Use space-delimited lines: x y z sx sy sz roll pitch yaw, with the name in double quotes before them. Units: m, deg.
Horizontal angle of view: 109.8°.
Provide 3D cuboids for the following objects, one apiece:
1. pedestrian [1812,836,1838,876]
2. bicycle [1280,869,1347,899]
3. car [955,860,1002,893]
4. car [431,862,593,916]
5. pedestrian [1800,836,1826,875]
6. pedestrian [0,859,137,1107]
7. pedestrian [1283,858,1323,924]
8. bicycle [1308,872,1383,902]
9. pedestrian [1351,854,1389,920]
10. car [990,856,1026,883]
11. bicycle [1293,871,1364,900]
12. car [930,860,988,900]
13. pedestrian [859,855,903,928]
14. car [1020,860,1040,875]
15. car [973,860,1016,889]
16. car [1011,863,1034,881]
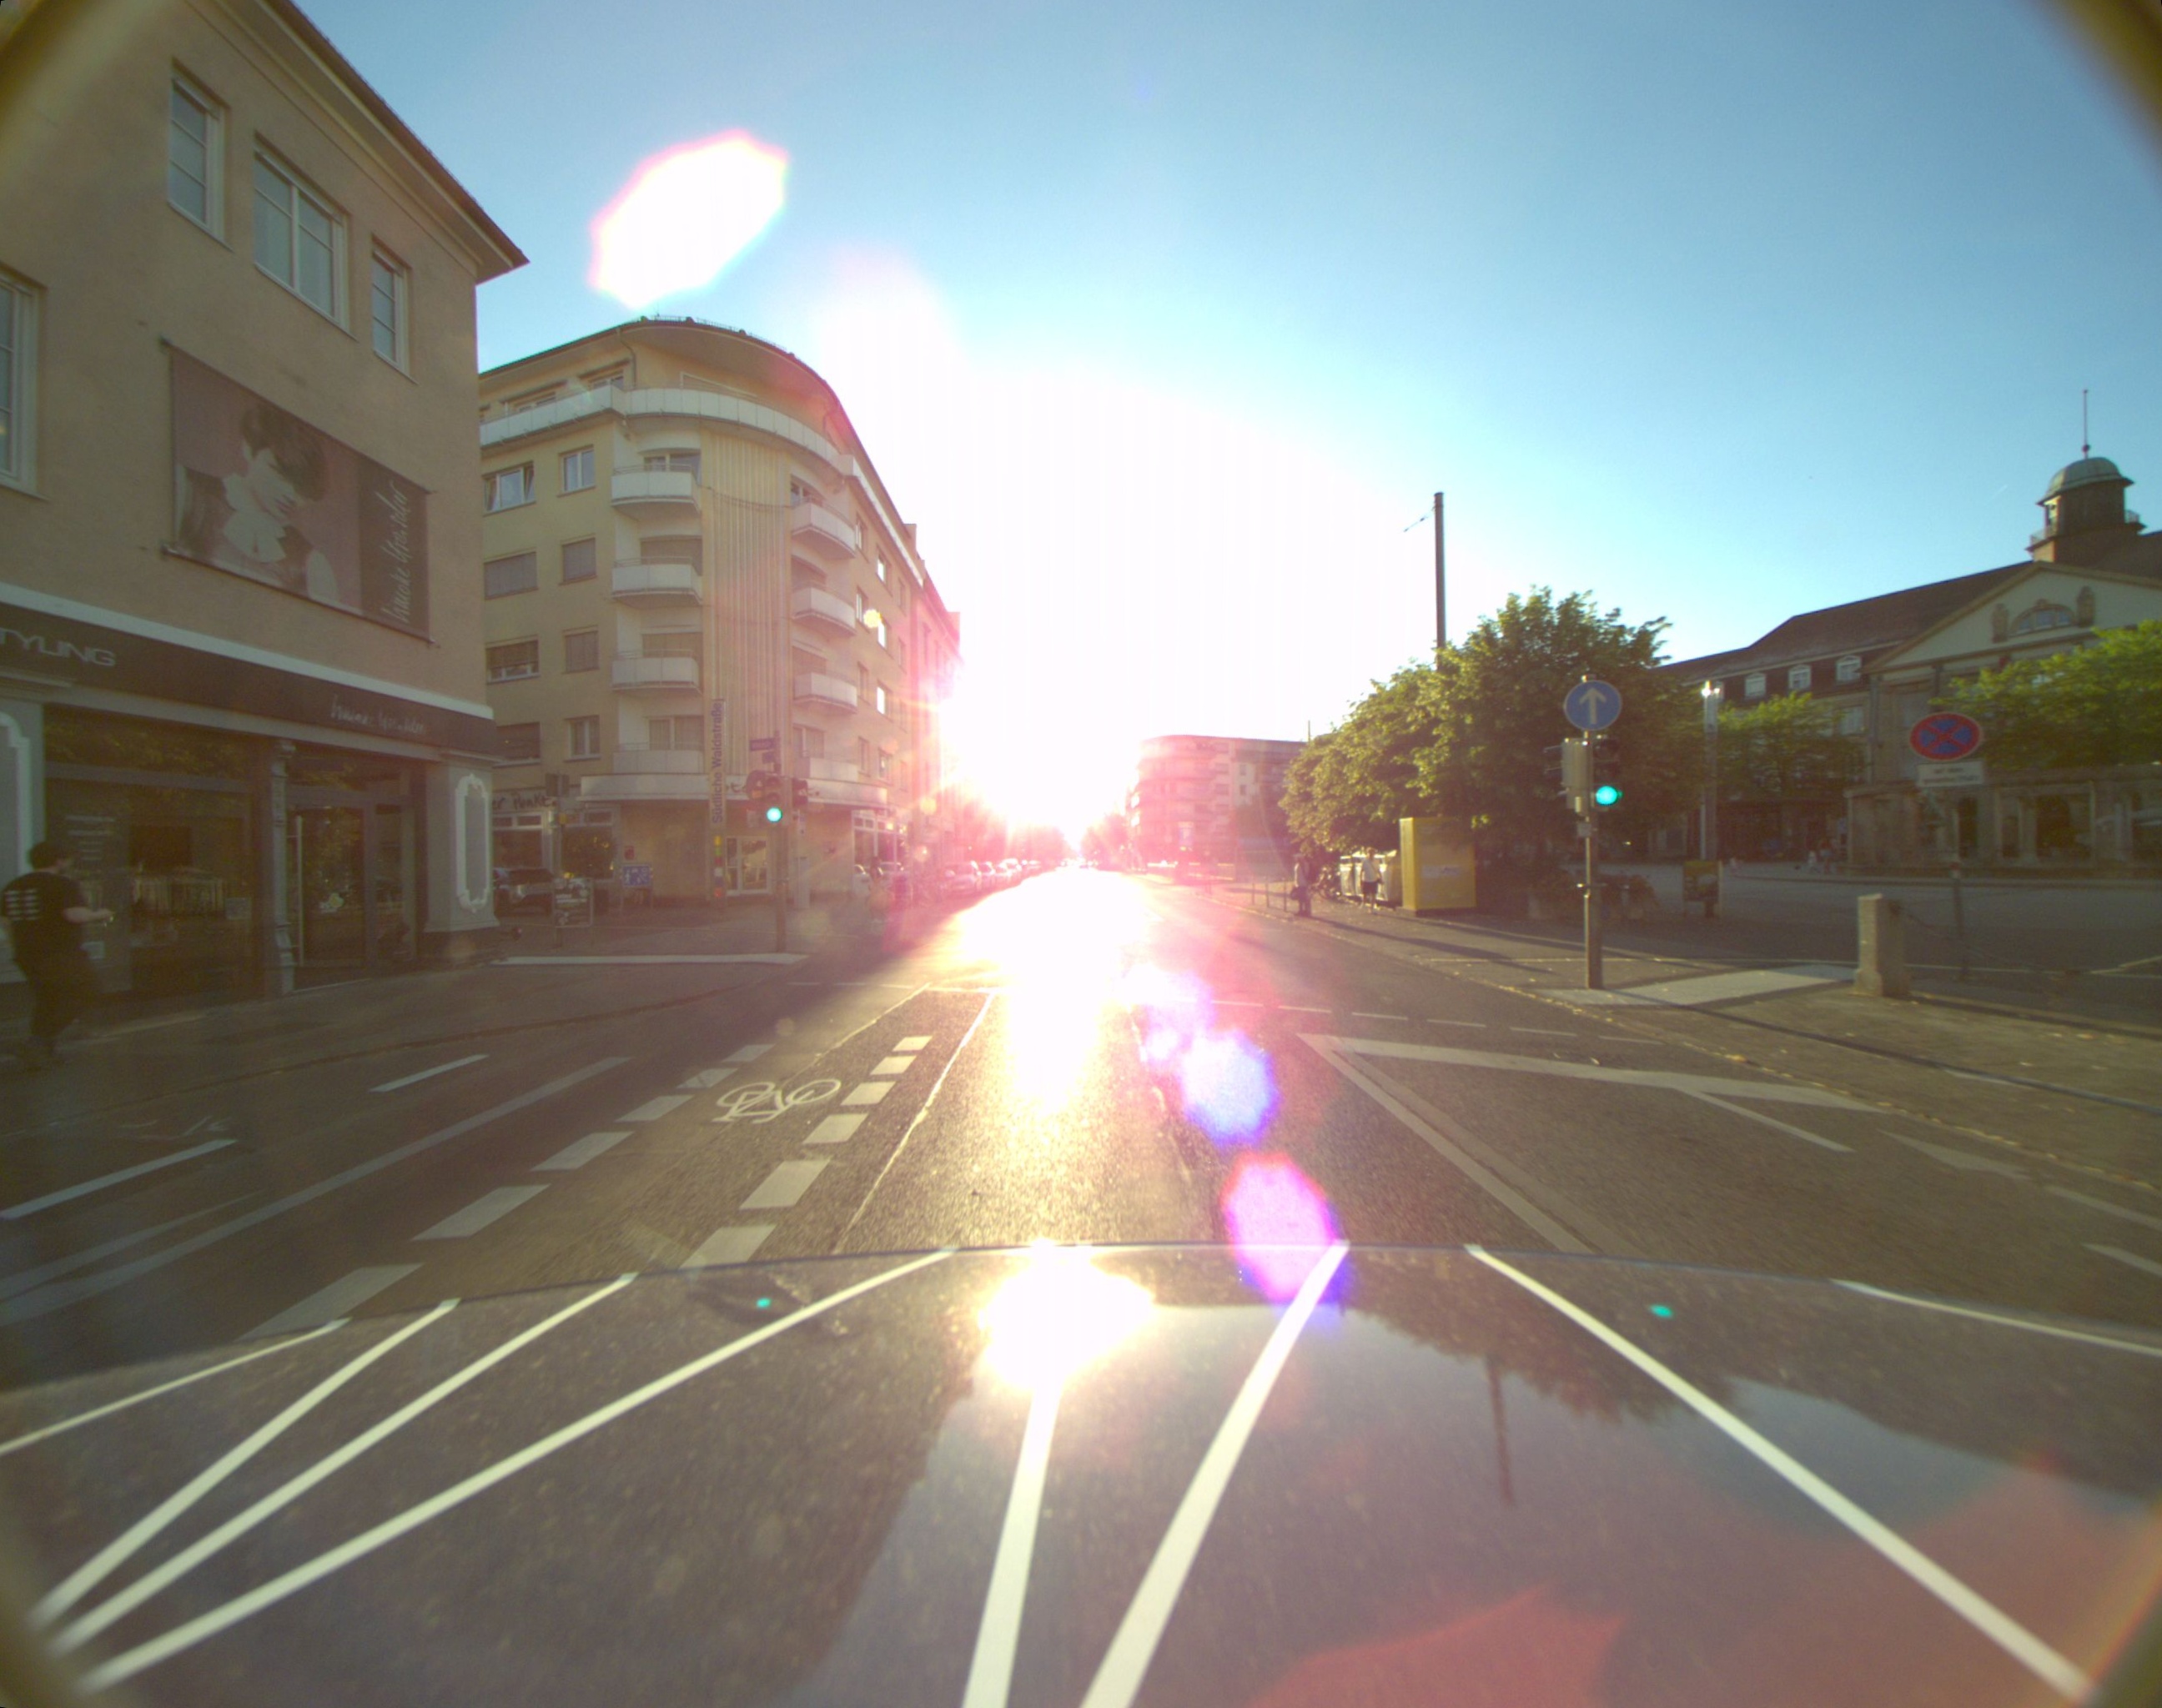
"pedestrian" 31.679 0.082 32.355 0.555 1.666 0.673 -3 1 -33
"bicycle" 9.087 1.180 29.774 2.399 1.065 0.673 -2 1 7
"car" -5.495 1.171 41.133 1.999 1.538 4.508 -2 1 -2
"car" -18.517 1.142 24.753 4.499 1.538 2.002 -2 1 20
"pedestrian" 31.981 0.061 33.206 0.612 1.666 0.679 -3 1 -34
"pedestrian" -8.011 0.941 5.816 0.673 1.774 0.721 1 2 -16
"pedestrian" 5.886 0.966 20.148 0.905 1.666 0.780 -2 1 11
"bicycle" 9.406 1.186 27.057 2.399 0.953 0.673 -2 1 7
"pedestrian" 7.626 0.867 20.086 0.778 1.666 0.907 -2 1 14
"car" -4.986 1.056 52.433 1.998 1.638 4.509 -2 1 1
"bicycle" 9.133 1.173 28.118 2.399 0.953 0.673 -2 1 7
"car" -5.491 1.132 34.719 1.999 1.538 4.508 -2 1 -2
"pedestrian" -4.937 0.906 18.767 0.842 1.736 0.701 -2 1 -1
"car" -5.759 1.476 86.231 1.999 1.538 4.508 -2 1 -2
"car" -5.230 1.228 46.590 1.998 1.538 4.509 -2 1 0
"car" -5.641 1.688 73.388 1.999 1.538 4.508 -2 1 -2
